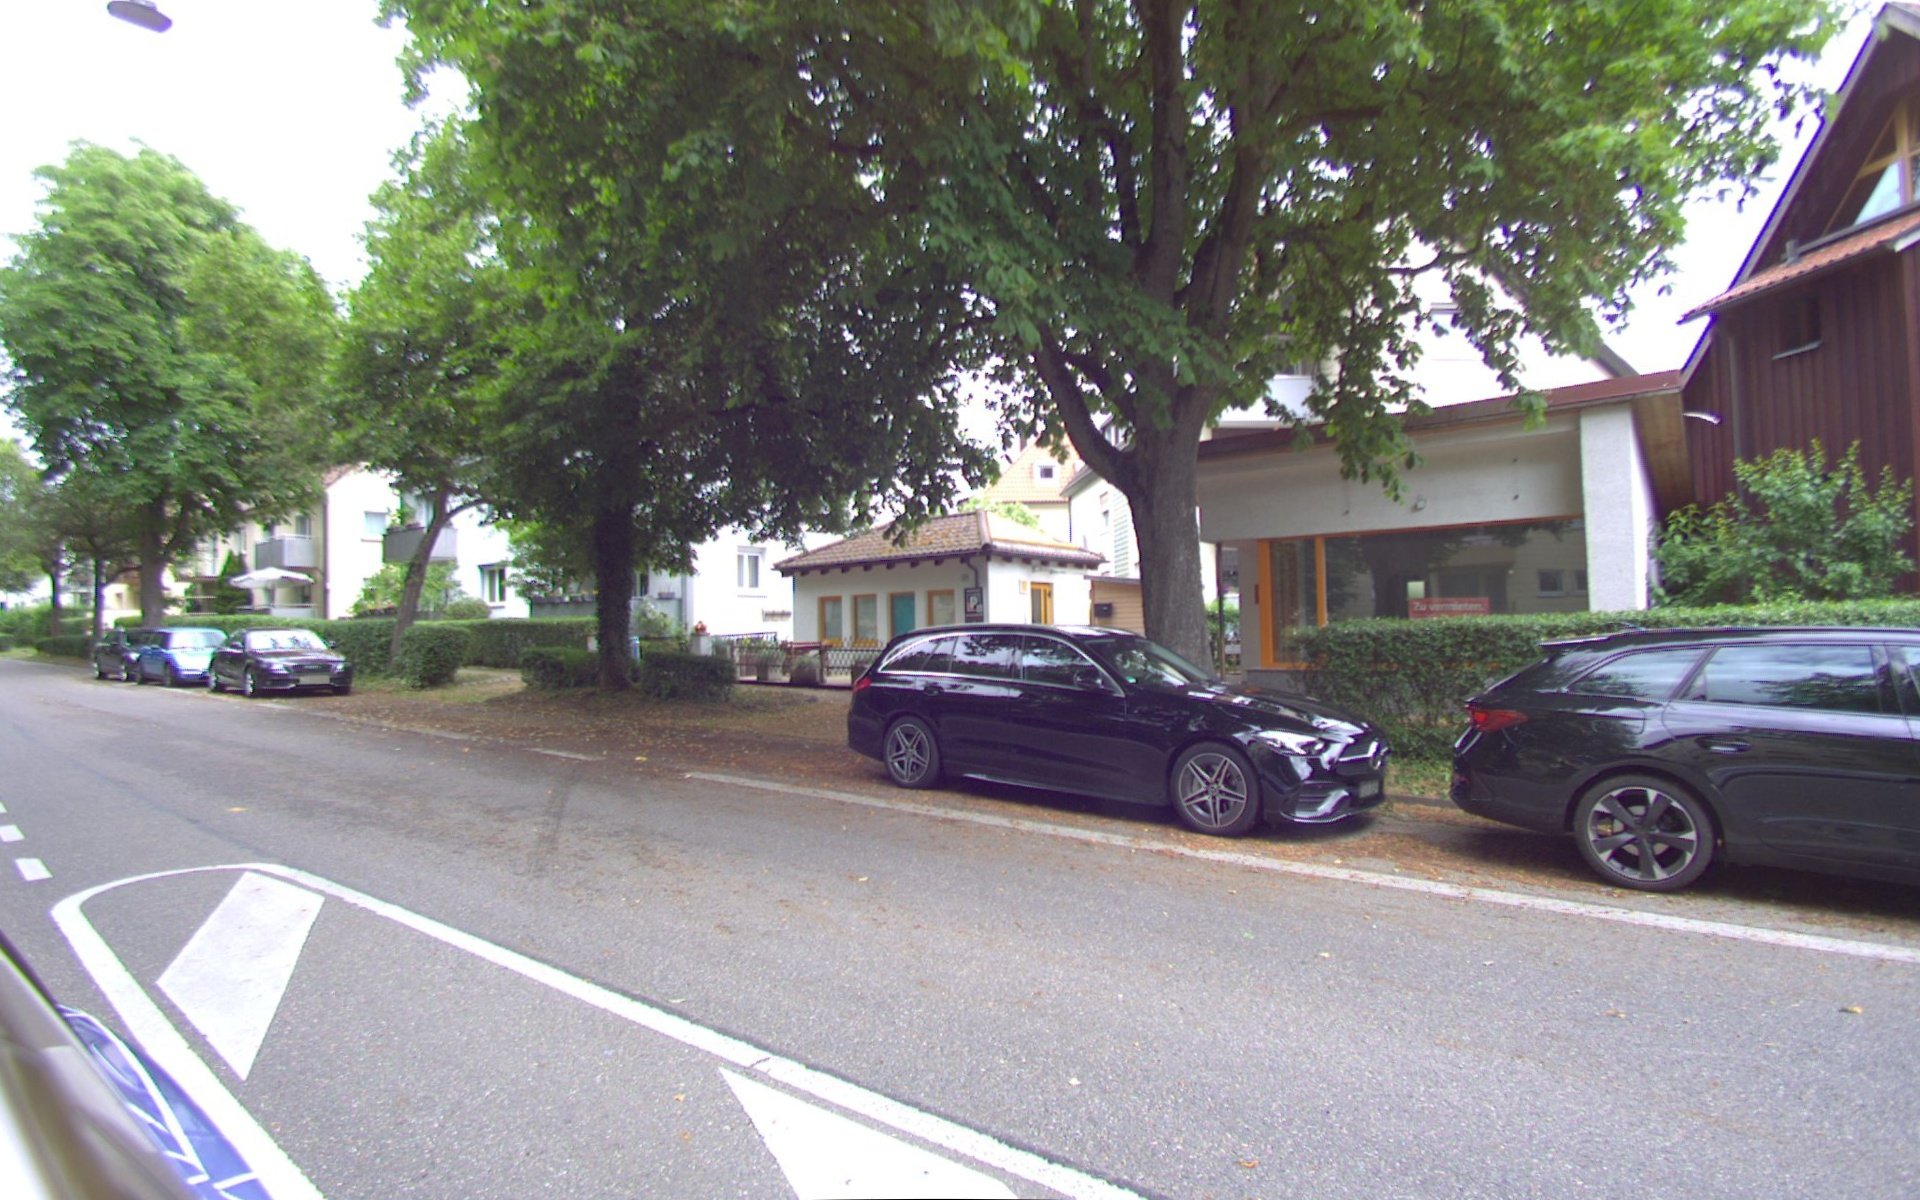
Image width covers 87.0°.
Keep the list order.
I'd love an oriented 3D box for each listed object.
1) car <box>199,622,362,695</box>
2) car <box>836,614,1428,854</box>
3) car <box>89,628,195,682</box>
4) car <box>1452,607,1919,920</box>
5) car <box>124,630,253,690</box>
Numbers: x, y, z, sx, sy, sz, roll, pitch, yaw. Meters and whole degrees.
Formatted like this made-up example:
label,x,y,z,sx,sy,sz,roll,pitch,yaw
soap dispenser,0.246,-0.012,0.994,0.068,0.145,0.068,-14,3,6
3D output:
label,x,y,z,sx,sy,sz,roll,pitch,yaw
car,-14.547,1.220,21.555,4.592,1.387,1.827,-3,-3,42
car,1.176,0.882,8.346,4.590,1.461,1.727,-1,-2,40
car,-22.427,1.491,27.709,3.767,1.387,1.521,-2,-3,39
car,5.213,0.780,5.264,4.509,1.461,1.728,-1,-2,39
car,-19.269,1.469,25.209,4.147,1.387,1.617,-2,-3,39
